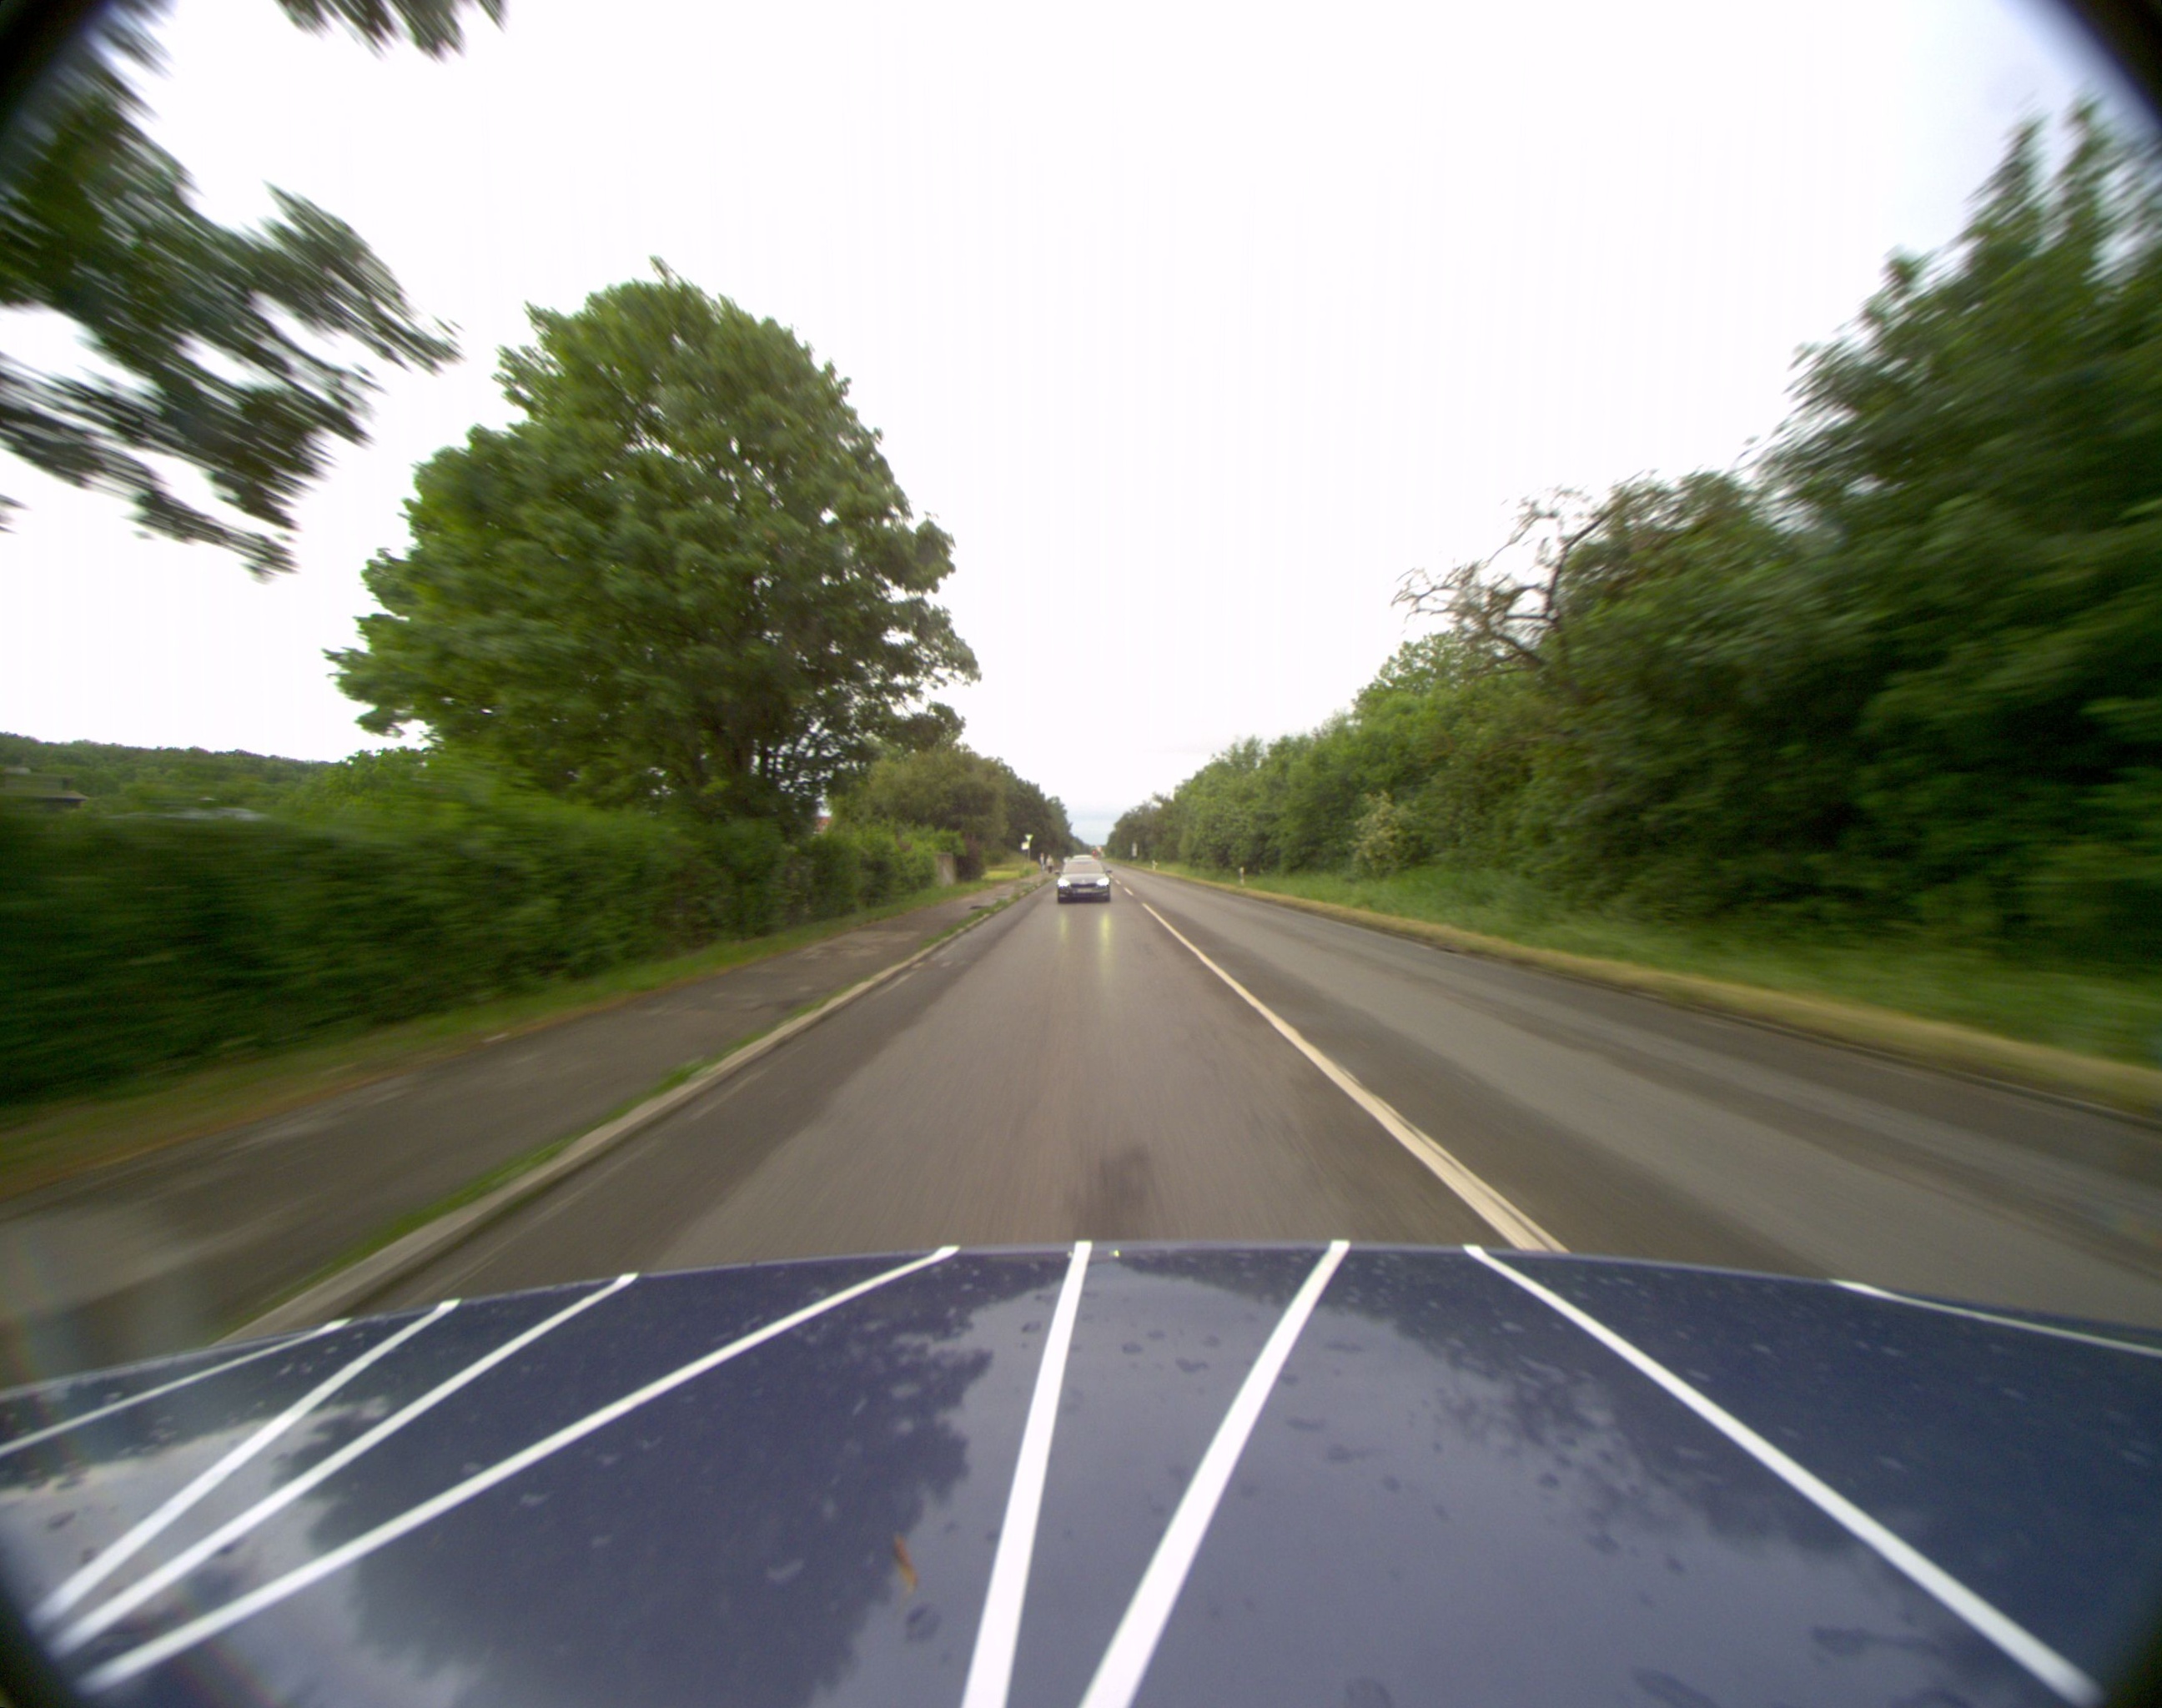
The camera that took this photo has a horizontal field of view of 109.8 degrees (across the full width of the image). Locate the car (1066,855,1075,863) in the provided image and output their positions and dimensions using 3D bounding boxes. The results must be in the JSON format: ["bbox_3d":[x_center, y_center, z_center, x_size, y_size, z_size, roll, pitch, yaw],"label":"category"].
[{"bbox_3d":[-2.297,1.037,160.485,1.749,1.460,4.220,1,1,1],"label":"car"}]

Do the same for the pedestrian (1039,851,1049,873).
[{"bbox_3d":[-3.066,0.637,63.151,0.696,1.817,0.800,0,1,-16],"label":"pedestrian"}]

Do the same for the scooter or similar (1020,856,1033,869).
[{"bbox_3d":[-5.064,0.816,71.120,1.323,1.199,0.375,0,1,41],"label":"scooter or similar"}]

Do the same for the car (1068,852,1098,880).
[{"bbox_3d":[0.162,0.780,51.554,1.915,1.690,3.913,-3,1,1],"label":"car"}]

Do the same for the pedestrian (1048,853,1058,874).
[{"bbox_3d":[-2.355,0.824,64.515,0.663,1.768,0.759,0,1,-16],"label":"pedestrian"}]

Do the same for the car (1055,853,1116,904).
[{"bbox_3d":[0.152,0.808,26.861,1.915,1.543,4.354,-3,0,1],"label":"car"}]
